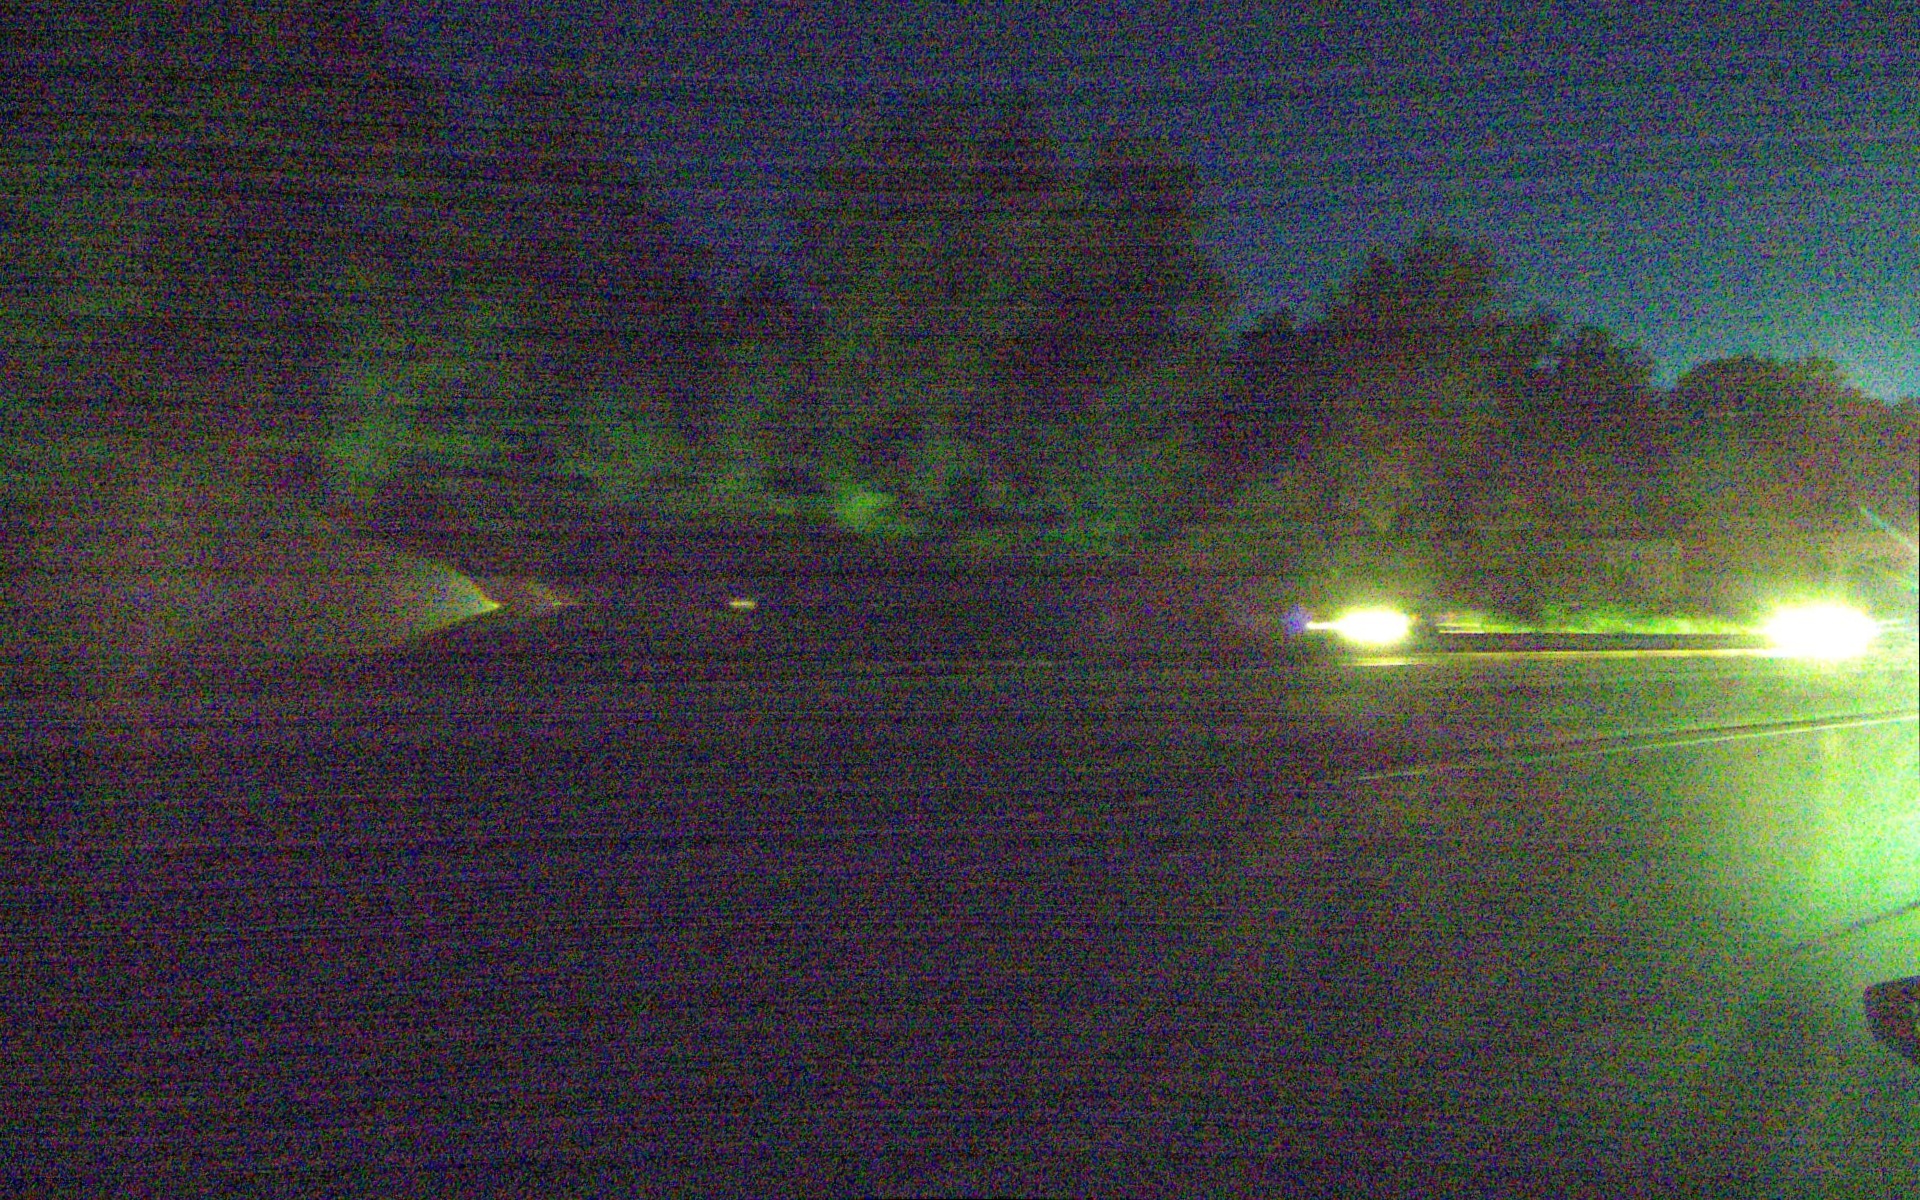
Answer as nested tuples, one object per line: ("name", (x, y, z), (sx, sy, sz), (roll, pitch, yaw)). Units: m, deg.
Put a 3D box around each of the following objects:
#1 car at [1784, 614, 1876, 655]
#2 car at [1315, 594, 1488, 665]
("car", (35.475, 1.400, 40.950), (4.113, 1.537, 1.718), (1, 1, -33))
("car", (10.977, 0.741, 24.954), (3.951, 1.535, 1.853), (2, 3, -29))
